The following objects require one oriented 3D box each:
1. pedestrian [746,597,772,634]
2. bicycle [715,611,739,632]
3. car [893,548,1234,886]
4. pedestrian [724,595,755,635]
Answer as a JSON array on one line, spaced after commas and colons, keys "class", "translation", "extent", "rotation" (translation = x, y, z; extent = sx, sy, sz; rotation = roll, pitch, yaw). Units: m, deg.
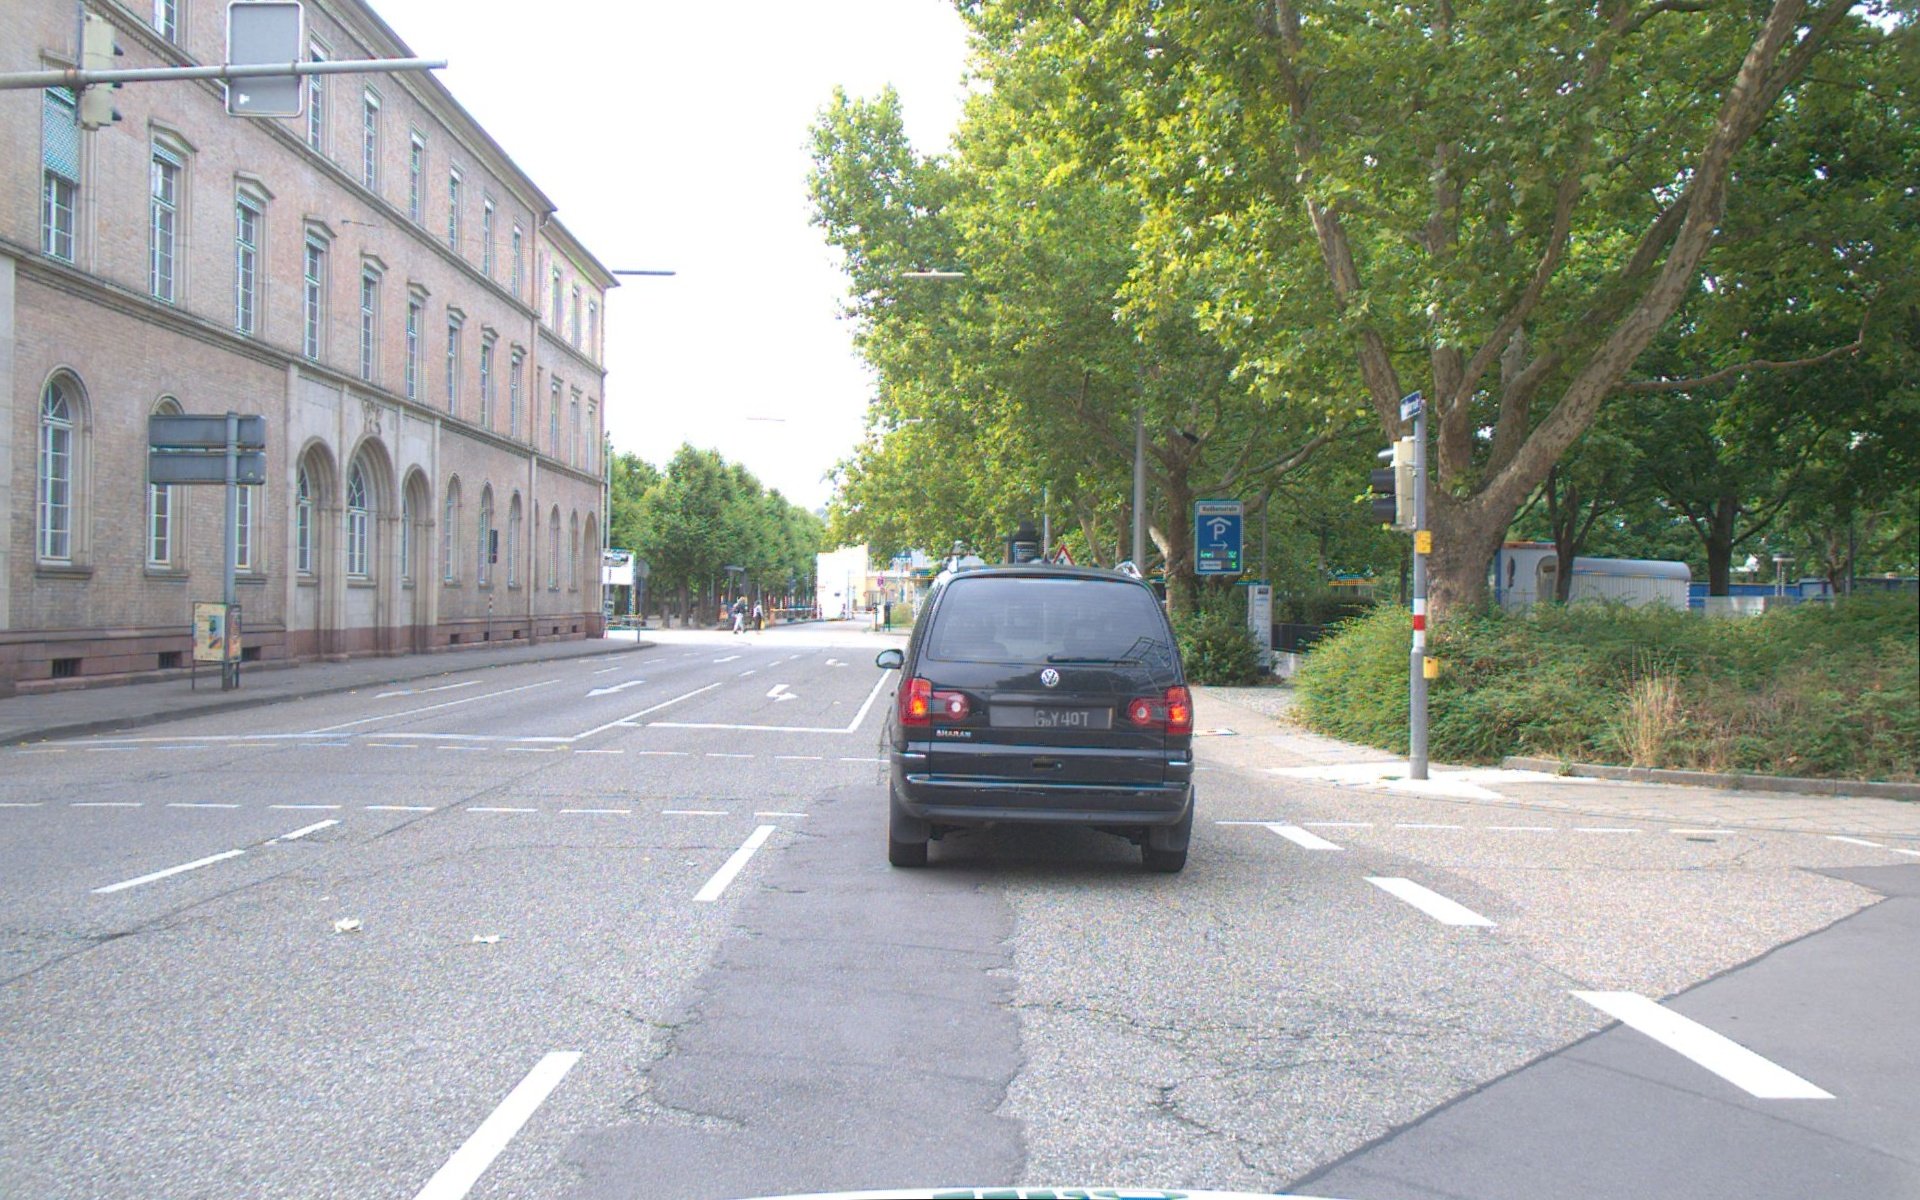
[{"class": "pedestrian", "translation": [-9.358, 0.727, 77.071], "extent": [0.877, 1.670, 0.853], "rotation": [2, 0, 17]}, {"class": "bicycle", "translation": [-13.823, 1.261, 98.040], "extent": [0.937, 1.129, 2.566], "rotation": [2, 0, -18]}, {"class": "car", "translation": [0.490, 0.604, 10.660], "extent": [1.757, 1.738, 4.130], "rotation": [1, 0, -1]}, {"class": "pedestrian", "translation": [-10.316, 0.701, 77.357], "extent": [0.940, 1.772, 1.256], "rotation": [2, 0, 17]}]
